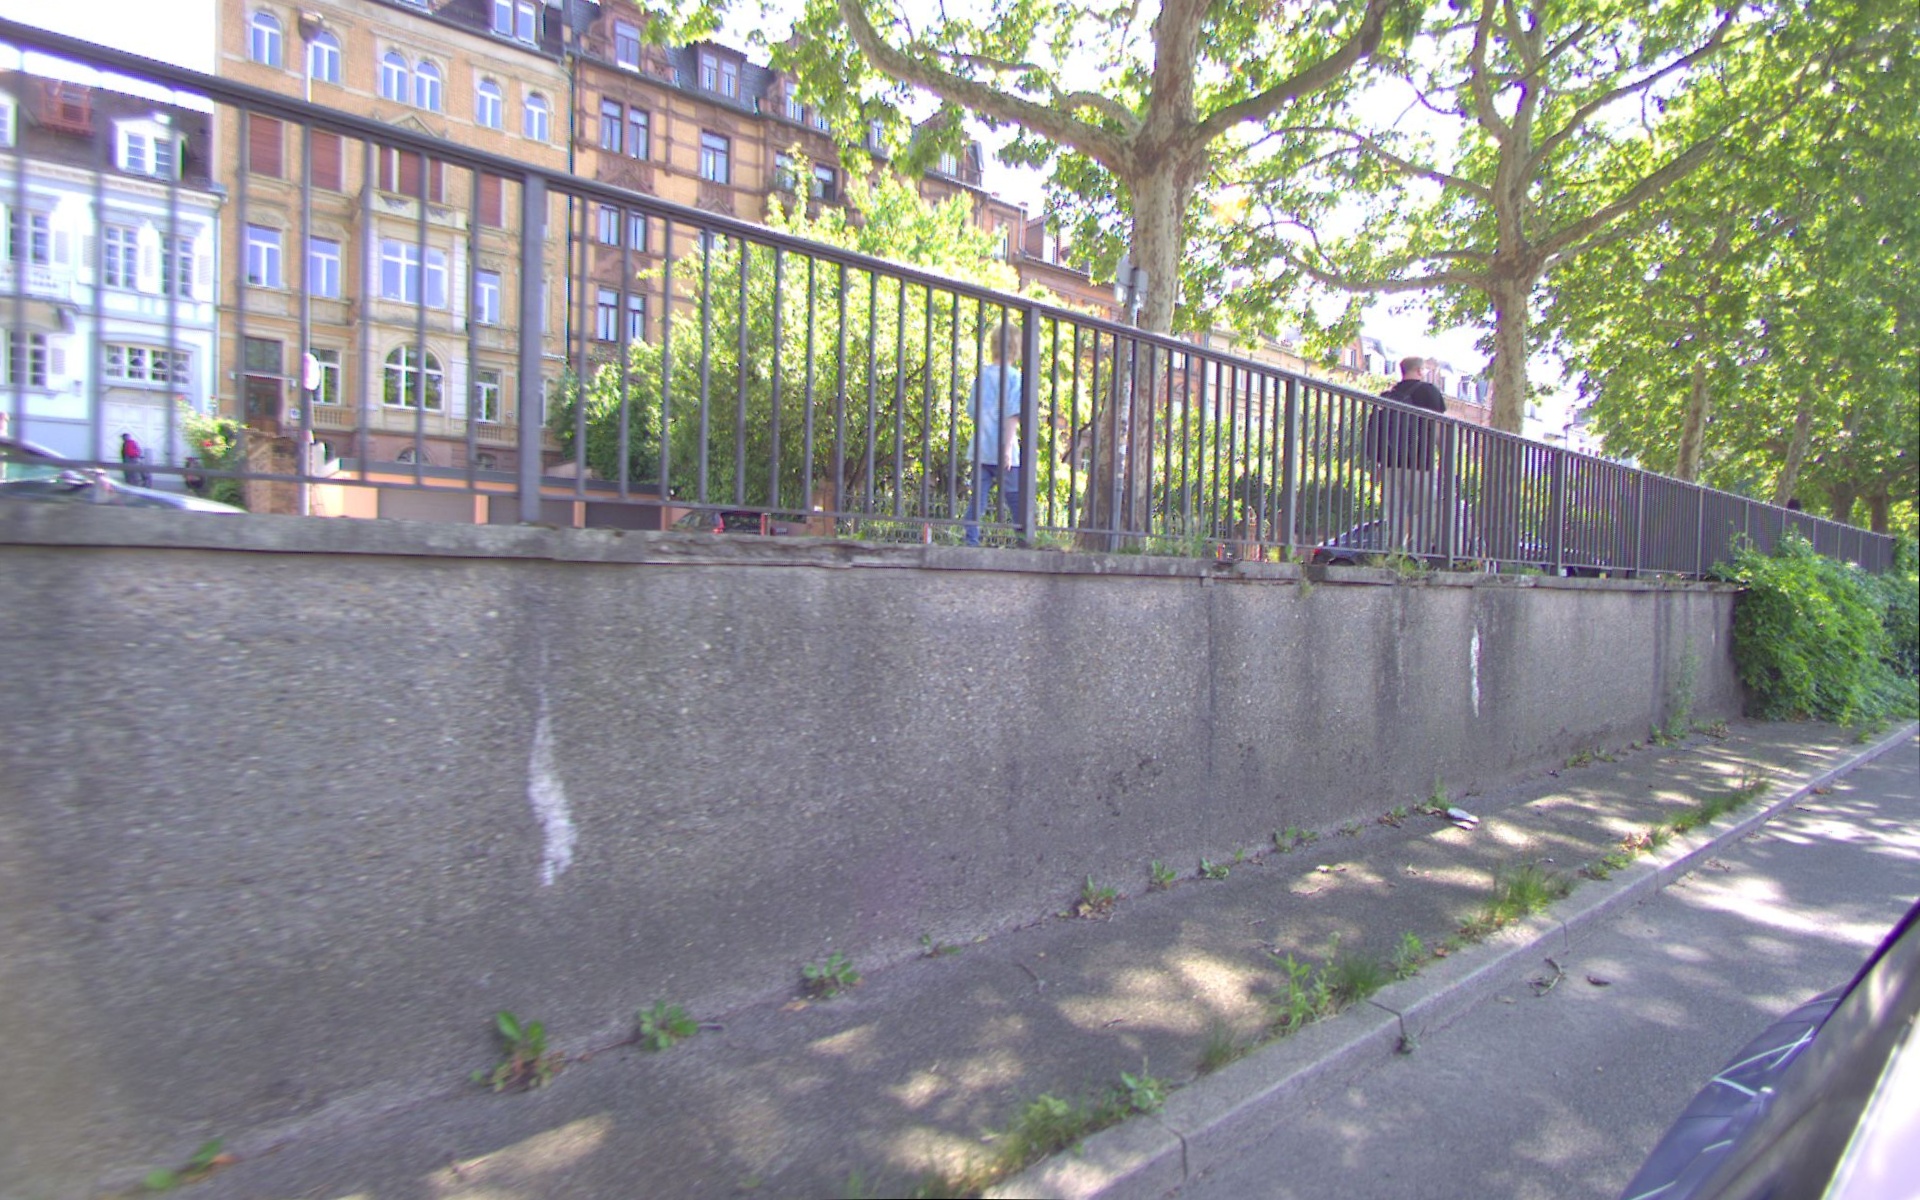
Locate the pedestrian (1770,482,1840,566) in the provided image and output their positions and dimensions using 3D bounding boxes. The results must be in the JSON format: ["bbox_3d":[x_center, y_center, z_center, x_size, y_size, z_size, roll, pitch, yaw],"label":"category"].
[{"bbox_3d":[14.609,-1.310,17.497,0.800,1.382,0.754,0,4,-42],"label":"pedestrian"}]

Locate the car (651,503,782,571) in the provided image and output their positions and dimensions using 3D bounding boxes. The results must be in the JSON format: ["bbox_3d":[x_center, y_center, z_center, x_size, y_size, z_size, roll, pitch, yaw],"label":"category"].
[{"bbox_3d":[-6.335,-1.566,26.081,1.759,1.556,3.793,1,1,-40],"label":"car"}]

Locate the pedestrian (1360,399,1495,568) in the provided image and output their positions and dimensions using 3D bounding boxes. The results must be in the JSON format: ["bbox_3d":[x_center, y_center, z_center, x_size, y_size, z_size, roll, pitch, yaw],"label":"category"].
[{"bbox_3d":[4.171,-1.008,9.025,0.972,1.382,0.682,0,4,-41],"label":"pedestrian"}]

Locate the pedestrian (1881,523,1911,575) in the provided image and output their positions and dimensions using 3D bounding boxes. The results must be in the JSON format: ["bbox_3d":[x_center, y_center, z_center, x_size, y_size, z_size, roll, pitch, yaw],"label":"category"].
[{"bbox_3d":[30.038,-1.636,32.498,0.646,1.660,0.617,2,1,42],"label":"pedestrian"}]

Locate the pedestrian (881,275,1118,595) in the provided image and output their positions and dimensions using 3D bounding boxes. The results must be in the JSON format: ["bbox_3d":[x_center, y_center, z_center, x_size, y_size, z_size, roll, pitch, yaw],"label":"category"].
[{"bbox_3d":[0.203,-0.771,5.161,0.933,1.442,0.682,0,4,-41],"label":"pedestrian"}]

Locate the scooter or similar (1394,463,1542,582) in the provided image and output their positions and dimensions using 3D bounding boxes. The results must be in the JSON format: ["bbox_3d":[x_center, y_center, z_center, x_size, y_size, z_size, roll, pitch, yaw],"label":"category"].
[{"bbox_3d":[4.842,-0.725,9.647,1.088,1.038,0.857,0,4,-41],"label":"scooter or similar"}]

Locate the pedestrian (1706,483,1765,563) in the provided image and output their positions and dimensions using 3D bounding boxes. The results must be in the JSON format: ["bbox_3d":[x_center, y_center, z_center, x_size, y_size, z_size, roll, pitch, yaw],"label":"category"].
[{"bbox_3d":[14.087,-1.395,18.389,0.781,1.382,0.645,0,4,-42],"label":"pedestrian"}]

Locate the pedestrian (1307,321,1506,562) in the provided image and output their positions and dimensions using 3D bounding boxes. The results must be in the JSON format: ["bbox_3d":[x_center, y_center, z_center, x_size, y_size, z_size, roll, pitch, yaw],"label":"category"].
[{"bbox_3d":[3.327,-1.121,7.541,1.010,1.598,0.938,0,4,-42],"label":"pedestrian"}]

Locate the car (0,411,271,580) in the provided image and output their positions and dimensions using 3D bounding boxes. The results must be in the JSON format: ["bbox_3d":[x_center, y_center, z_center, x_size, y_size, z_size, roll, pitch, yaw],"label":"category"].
[{"bbox_3d":[-9.551,-1.046,10.065,4.348,1.531,1.842,0,3,-38],"label":"car"}]

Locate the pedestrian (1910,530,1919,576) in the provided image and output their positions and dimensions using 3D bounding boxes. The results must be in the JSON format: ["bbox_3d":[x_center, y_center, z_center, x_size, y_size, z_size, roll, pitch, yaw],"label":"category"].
[{"bbox_3d":[30.553,-1.484,32.075,0.584,1.437,0.580,2,2,42],"label":"pedestrian"}]

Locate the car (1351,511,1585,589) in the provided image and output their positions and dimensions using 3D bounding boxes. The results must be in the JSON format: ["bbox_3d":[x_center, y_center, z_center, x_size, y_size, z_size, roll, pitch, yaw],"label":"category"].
[{"bbox_3d":[9.151,-0.958,18.500,1.484,1.250,3.541,1,4,-30],"label":"car"}]
